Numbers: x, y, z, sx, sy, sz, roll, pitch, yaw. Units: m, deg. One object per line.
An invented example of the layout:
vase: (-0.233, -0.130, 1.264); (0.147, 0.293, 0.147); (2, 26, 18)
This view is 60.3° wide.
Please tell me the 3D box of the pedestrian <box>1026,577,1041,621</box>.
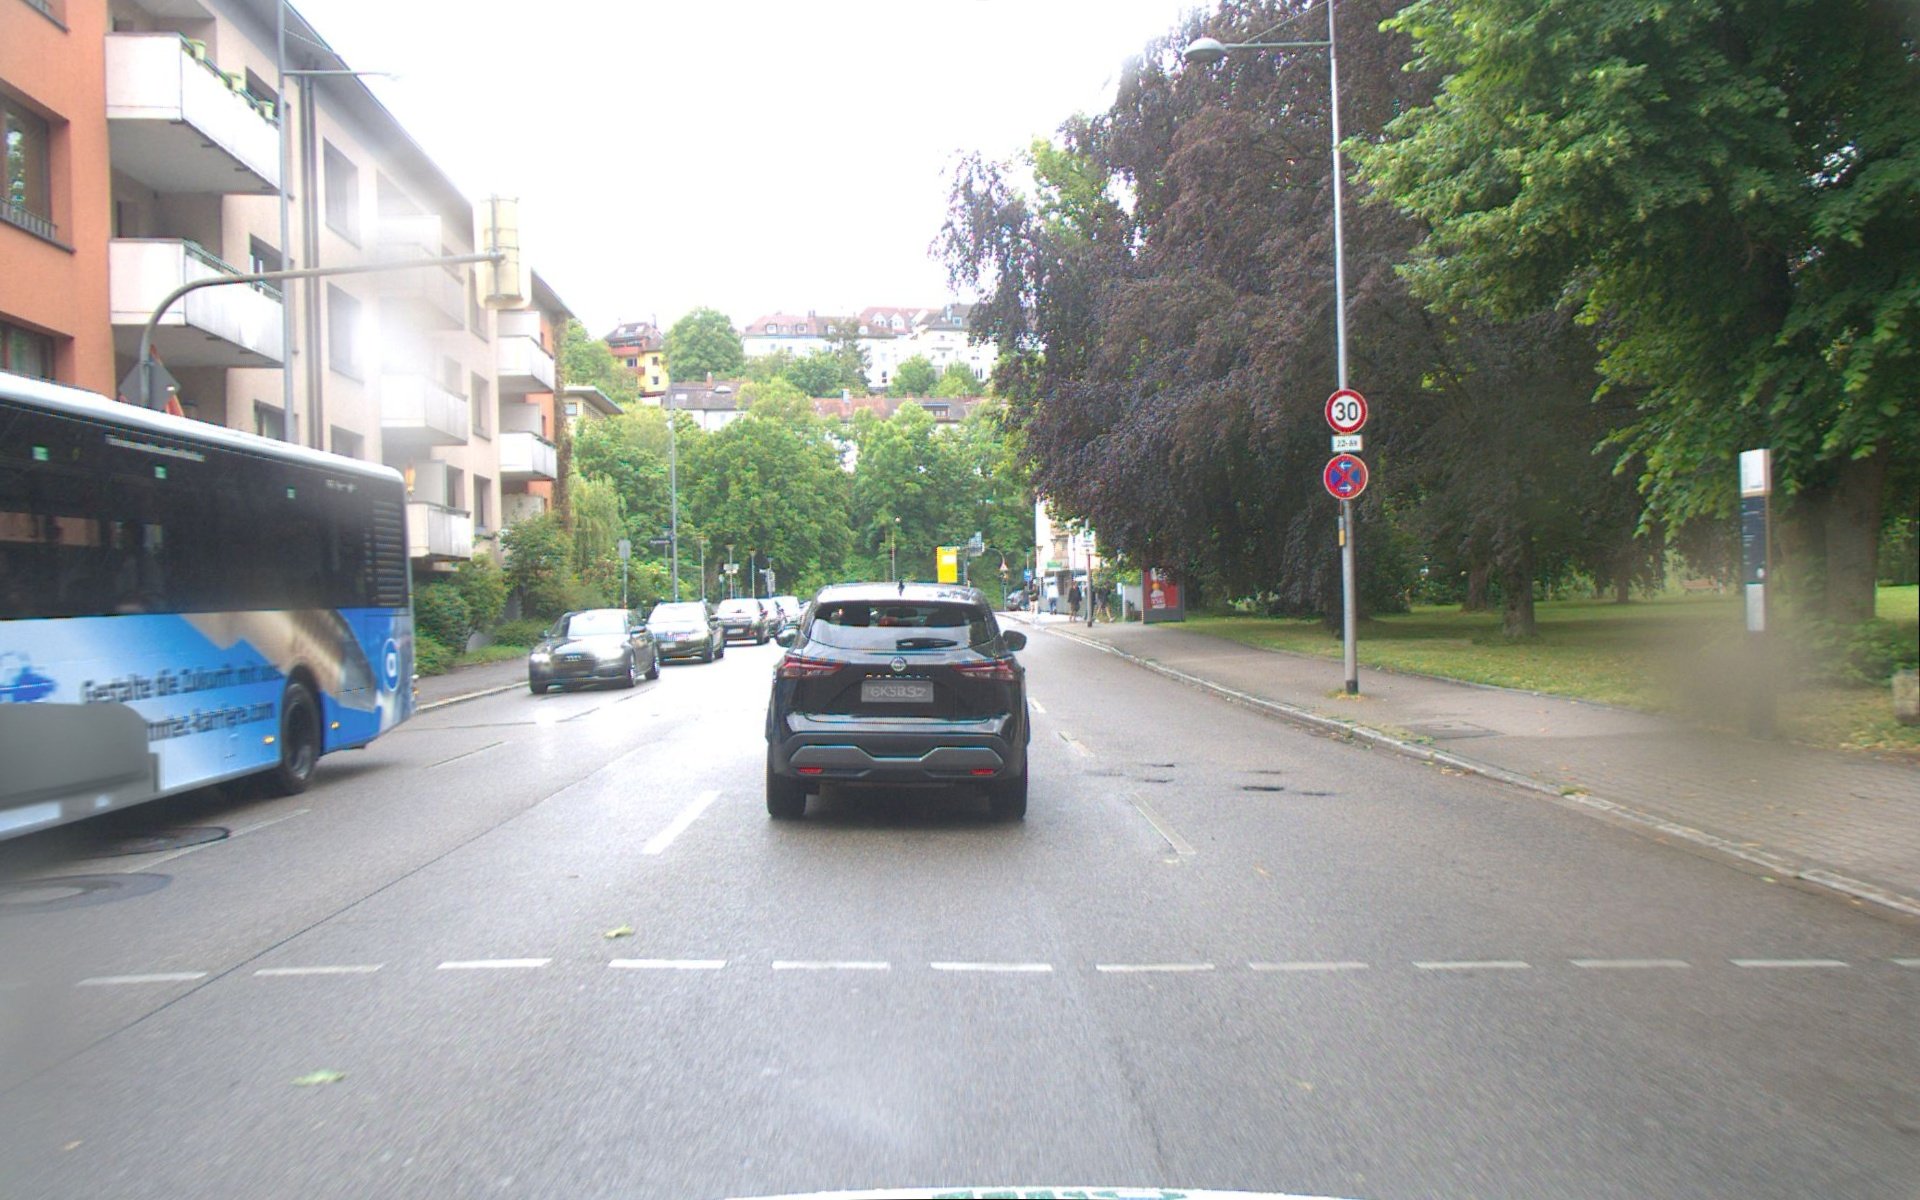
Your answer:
pedestrian: (3.702, -0.047, 83.267); (0.752, 2.222, 0.711); (1, -1, 1)

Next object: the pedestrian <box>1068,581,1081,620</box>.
pedestrian: (5.016, 0.030, 72.235); (0.533, 1.680, 0.490); (1, -1, 4)

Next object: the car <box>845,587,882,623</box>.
car: (-5.113, 0.253, 87.906); (1.728, 1.788, 3.634); (-2, 0, -1)

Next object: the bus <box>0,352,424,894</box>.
bus: (-6.772, 0.165, 11.144); (2.710, 3.026, 11.777); (-2, 0, -2)

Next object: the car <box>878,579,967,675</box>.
car: (-0.699, 0.498, 32.840); (1.588, 1.738, 3.770); (-2, 0, 0)

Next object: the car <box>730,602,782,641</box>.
car: (-7.795, 0.806, 63.557); (1.643, 1.318, 3.749); (-3, 0, -3)

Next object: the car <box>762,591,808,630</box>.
car: (-7.871, 0.460, 74.767); (1.715, 1.662, 3.634); (-2, 0, -1)

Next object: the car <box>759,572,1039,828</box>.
car: (-0.441, 0.663, 12.604); (1.770, 1.618, 3.998); (1, -1, -2)

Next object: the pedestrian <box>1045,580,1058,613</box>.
pedestrian: (5.019, -0.193, 90.898); (0.606, 1.810, 0.778); (-2, 0, -2)

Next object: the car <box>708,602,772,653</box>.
car: (-7.163, 0.876, 54.195); (1.643, 1.495, 4.215); (-3, 0, -3)

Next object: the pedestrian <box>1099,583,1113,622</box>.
pedestrian: (6.276, 0.106, 71.068); (0.504, 1.684, 0.550); (1, -1, -2)

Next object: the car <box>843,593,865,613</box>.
car: (-8.244, 0.221, 128.849); (1.684, 1.494, 3.683); (-2, 0, -3)

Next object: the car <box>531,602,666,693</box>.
car: (-6.758, 0.843, 31.320); (1.740, 1.495, 4.215); (-3, 0, -3)

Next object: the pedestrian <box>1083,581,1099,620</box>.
pedestrian: (5.721, 0.040, 72.304); (0.684, 1.680, 0.628); (1, -1, 4)

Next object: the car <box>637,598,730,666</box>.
car: (-6.823, 0.756, 41.206); (1.712, 1.495, 4.215); (-3, 0, -3)

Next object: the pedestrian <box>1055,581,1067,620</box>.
pedestrian: (4.397, 0.019, 72.045); (0.465, 1.680, 0.490); (1, -1, 4)
